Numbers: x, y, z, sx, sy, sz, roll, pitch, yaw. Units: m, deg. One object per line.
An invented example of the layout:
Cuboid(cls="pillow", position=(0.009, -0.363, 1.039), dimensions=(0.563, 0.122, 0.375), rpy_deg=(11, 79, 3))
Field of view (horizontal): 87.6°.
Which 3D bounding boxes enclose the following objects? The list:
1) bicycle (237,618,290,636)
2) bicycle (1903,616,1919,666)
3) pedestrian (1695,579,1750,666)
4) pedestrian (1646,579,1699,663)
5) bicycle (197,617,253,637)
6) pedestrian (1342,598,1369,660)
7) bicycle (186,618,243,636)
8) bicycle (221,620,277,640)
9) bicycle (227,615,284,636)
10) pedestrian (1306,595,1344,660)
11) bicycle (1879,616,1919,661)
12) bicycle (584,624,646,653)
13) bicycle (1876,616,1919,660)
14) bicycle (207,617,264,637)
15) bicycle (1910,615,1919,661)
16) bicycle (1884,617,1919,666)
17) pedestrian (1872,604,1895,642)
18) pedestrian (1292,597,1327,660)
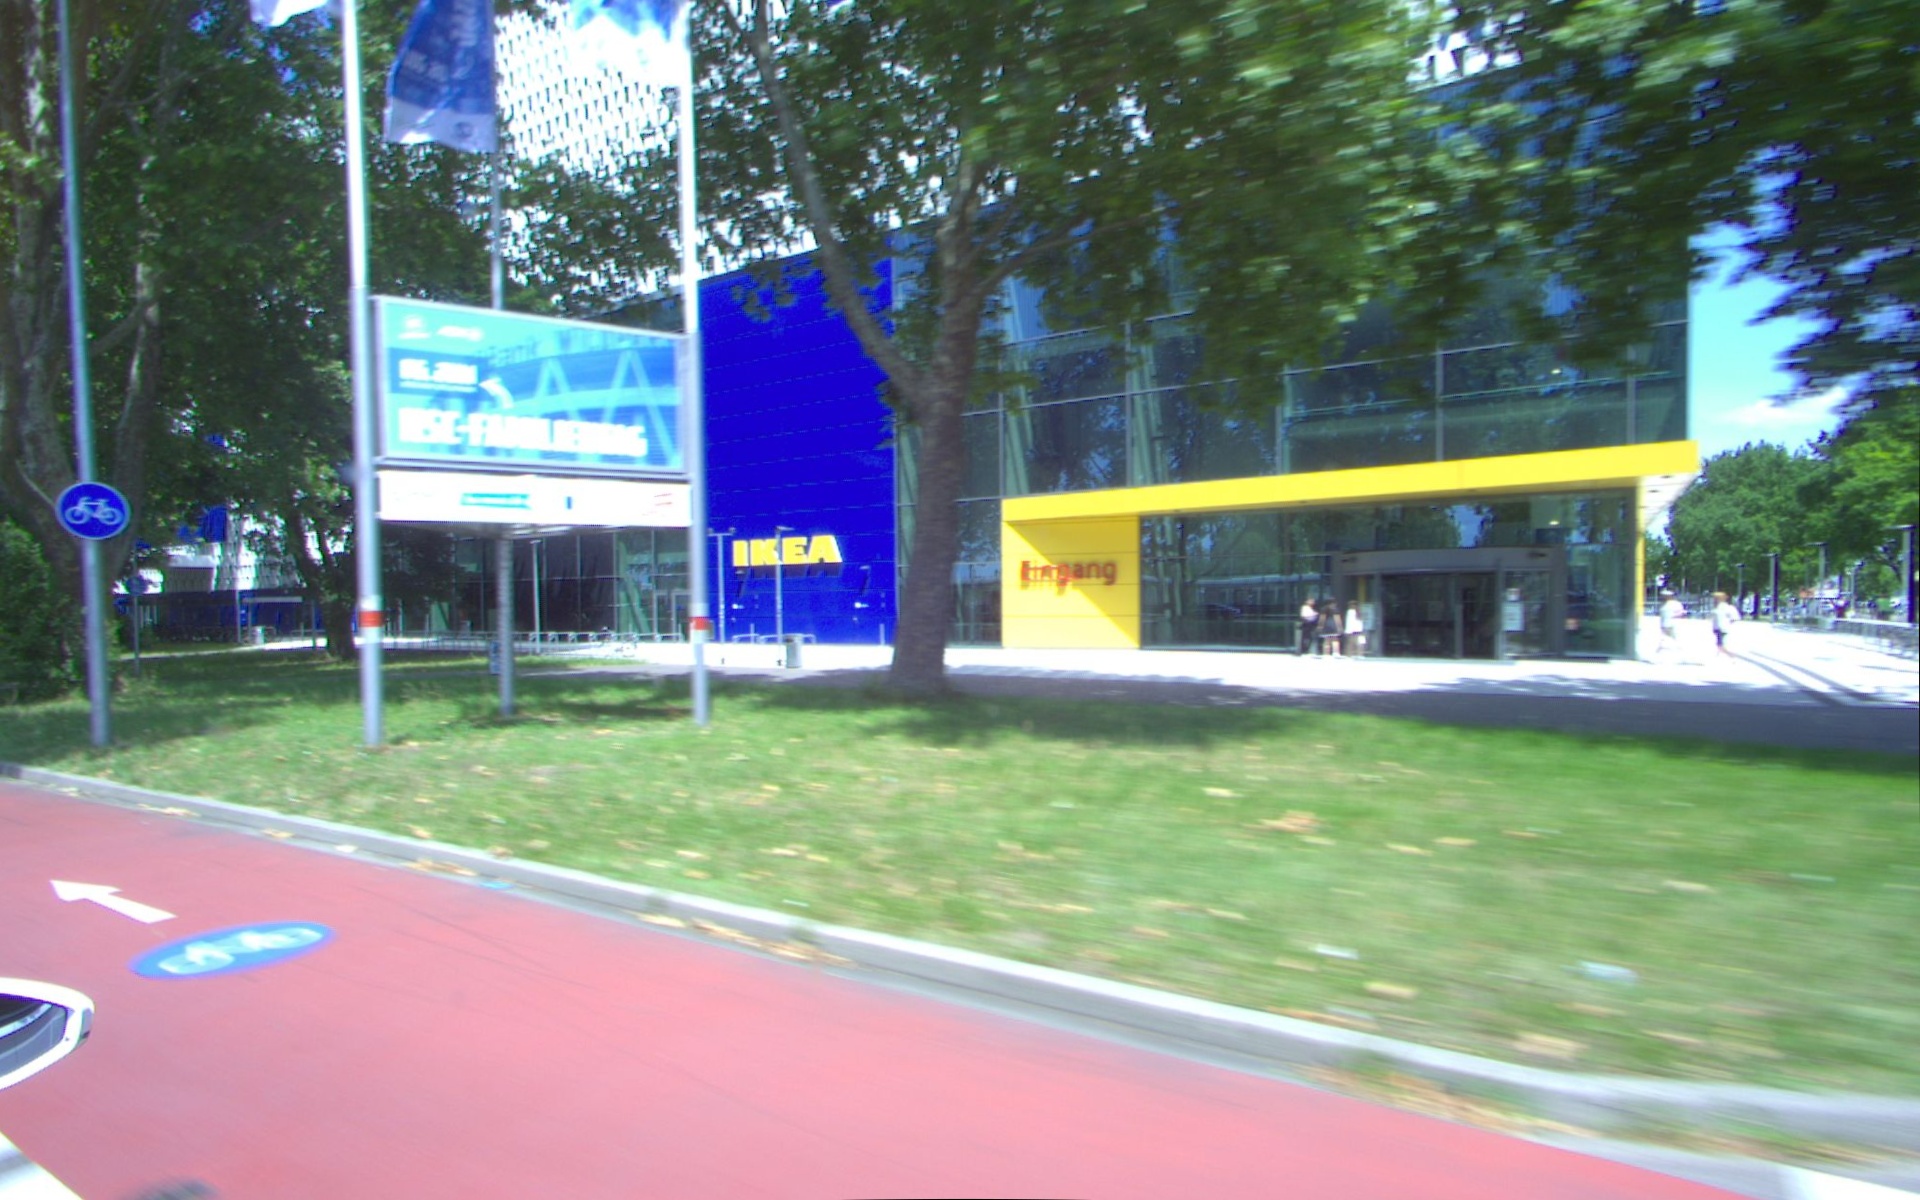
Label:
Cuboid(cls="bicycle", position=(-38.313, 1.487, 55.128), dimensions=(0.747, 0.973, 2.314), rpy_deg=(0, -1, 28))
Cuboid(cls="bicycle", position=(24.470, 0.993, 24.136), dimensions=(2.390, 1.214, 0.801), rpy_deg=(0, 0, 20))
Cuboid(cls="pedestrian", position=(18.192, 0.536, 23.905), dimensions=(0.784, 2.040, 0.733), rpy_deg=(0, 0, 6))
Cuboid(cls="pedestrian", position=(17.494, 0.517, 24.603), dimensions=(0.784, 2.040, 0.732), rpy_deg=(0, 0, -11))
Cuboid(cls="bicycle", position=(-42.007, 1.538, 57.264), dimensions=(0.747, 1.125, 2.543), rpy_deg=(0, -1, 28))
Cuboid(cls="pedestrian", position=(10.841, 0.792, 27.420), dimensions=(0.578, 1.693, 0.604), rpy_deg=(0, -1, 33))
Cuboid(cls="bicycle", position=(-43.086, 1.565, 57.898), dimensions=(0.747, 0.983, 2.543), rpy_deg=(0, -1, 28))
Cuboid(cls="bicycle", position=(-39.938, 1.677, 56.279), dimensions=(0.747, 1.125, 2.543), rpy_deg=(0, -1, 28))
Cuboid(cls="bicycle", position=(-39.178, 1.409, 55.712), dimensions=(0.747, 1.125, 2.543), rpy_deg=(0, -1, 28))
Cuboid(cls="pedestrian", position=(10.050, 0.760, 27.596), dimensions=(0.733, 1.758, 0.776), rpy_deg=(0, 0, 44))
Cuboid(cls="bicycle", position=(26.744, 1.035, 27.263), dimensions=(2.390, 1.214, 0.801), rpy_deg=(0, 0, 20))
Cuboid(cls="bicycle", position=(-12.204, 1.360, 35.487), dimensions=(0.855, 0.981, 2.058), rpy_deg=(0, -1, 29))
Cuboid(cls="bicycle", position=(27.441, 1.065, 28.117), dimensions=(2.390, 1.214, 0.801), rpy_deg=(0, 0, 20))
Cuboid(cls="bicycle", position=(-40.967, 1.511, 56.638), dimensions=(0.747, 1.125, 2.543), rpy_deg=(0, -1, 28))
Cuboid(cls="bicycle", position=(26.415, 0.993, 25.999), dimensions=(2.390, 1.214, 0.801), rpy_deg=(0, 0, 20))
Cuboid(cls="bicycle", position=(24.853, 1.025, 25.082), dimensions=(2.390, 1.214, 0.801), rpy_deg=(0, 0, 20))
Cuboid(cls="pedestrian", position=(40.196, 0.997, 43.580), dimensions=(0.571, 1.607, 0.765), rpy_deg=(0, 0, 28))
Cuboid(cls="pedestrian", position=(10.006, 0.808, 28.673), dimensions=(0.773, 1.758, 0.736), rpy_deg=(0, 0, 36))
